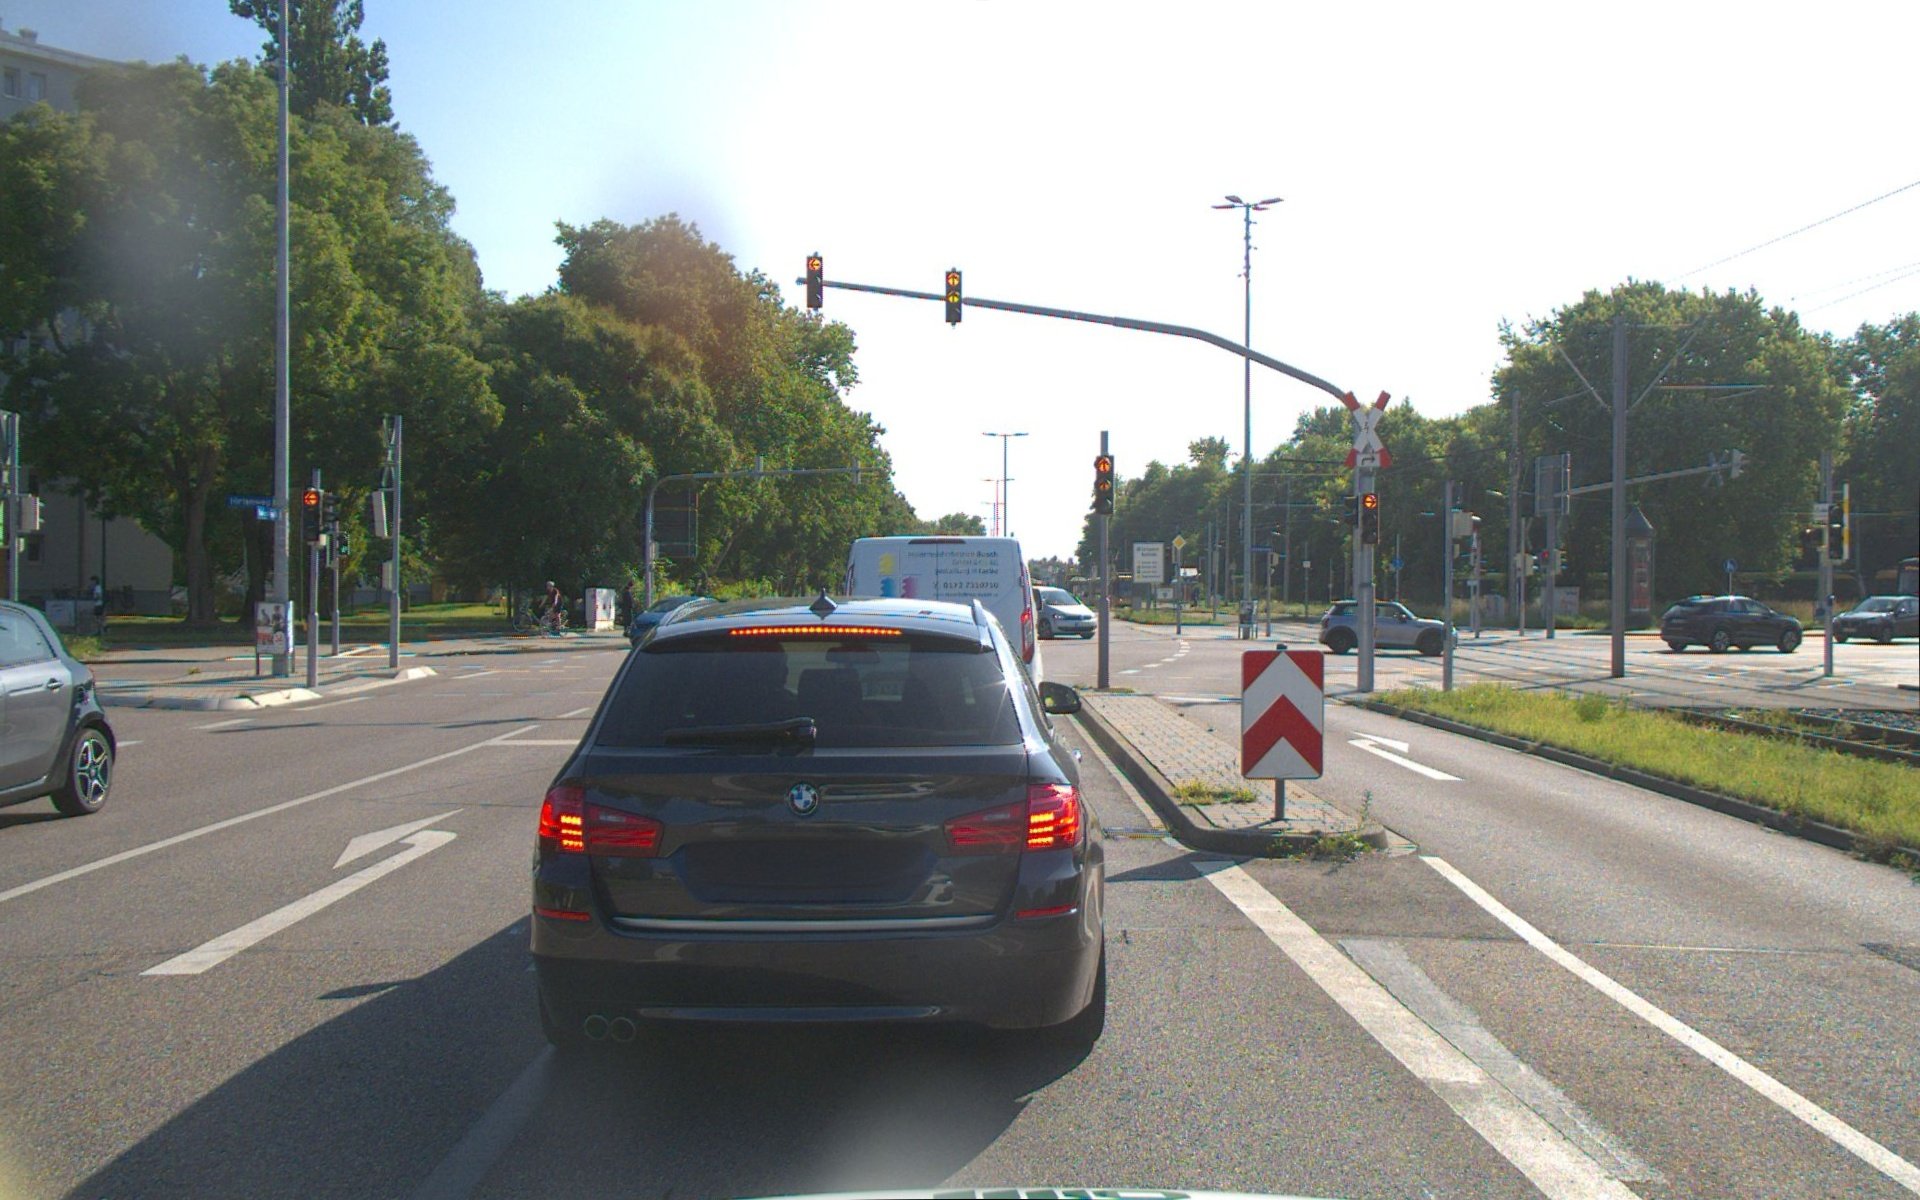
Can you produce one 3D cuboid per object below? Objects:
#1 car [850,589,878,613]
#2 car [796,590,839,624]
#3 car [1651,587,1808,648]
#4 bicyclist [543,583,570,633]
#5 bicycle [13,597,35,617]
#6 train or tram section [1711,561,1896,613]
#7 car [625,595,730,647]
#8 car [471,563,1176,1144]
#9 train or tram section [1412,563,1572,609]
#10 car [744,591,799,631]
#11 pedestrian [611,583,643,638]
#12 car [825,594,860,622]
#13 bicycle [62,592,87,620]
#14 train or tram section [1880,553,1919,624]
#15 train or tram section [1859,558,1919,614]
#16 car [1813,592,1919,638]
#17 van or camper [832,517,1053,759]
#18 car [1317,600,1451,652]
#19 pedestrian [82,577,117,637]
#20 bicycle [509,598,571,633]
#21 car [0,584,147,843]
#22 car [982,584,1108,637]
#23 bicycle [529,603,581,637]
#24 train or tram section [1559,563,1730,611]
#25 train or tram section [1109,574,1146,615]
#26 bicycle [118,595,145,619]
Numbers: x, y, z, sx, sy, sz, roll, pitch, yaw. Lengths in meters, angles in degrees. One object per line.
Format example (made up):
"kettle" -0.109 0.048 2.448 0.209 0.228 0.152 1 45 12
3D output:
"car" -6.371 0.031 109.786 1.753 1.546 3.998 -1 0 -3
"car" -6.954 0.313 81.111 1.709 1.589 4.000 -2 0 0
"car" 23.119 0.527 49.701 4.542 1.752 1.638 1 0 -22
"bicyclist" -12.799 0.256 52.458 0.594 1.587 0.603 0 0 18
"bicycle" -36.609 0.271 64.675 0.578 0.721 2.211 0 1 -35
"train or tram section" 60.914 -0.935 119.878 3.017 3.642 12.087 0 0 -34
"car" -8.213 0.569 48.461 1.741 1.439 4.248 0 0 9
"car" -0.380 0.661 6.416 1.864 1.532 4.064 0 0 -1
"train or tram section" 43.508 -1.115 135.476 12.170 3.642 3.048 0 0 31
"car" -7.576 0.420 66.794 1.667 1.490 4.370 -1 0 0
"pedestrian" -10.913 0.340 54.246 0.798 1.782 0.932 0 0 5
"car" -6.628 0.427 93.911 1.851 1.499 4.098 -1 0 -3
"bicycle" -35.042 0.248 65.427 0.606 1.085 1.892 1 -2 -37
"train or tram section" 53.243 -0.599 87.953 11.721 3.642 3.015 0 0 -37
"train or tram section" 63.733 -0.912 108.478 2.981 3.642 12.231 0 0 0
"car" 32.828 0.514 58.935 4.792 1.590 2.025 0 0 -29
"van or camper" -0.124 0.324 16.922 1.952 2.133 4.599 0 0 1
"car" 11.680 0.701 45.750 3.443 1.408 1.608 0 0 9
"pedestrian" -25.697 0.203 49.398 0.610 1.742 0.705 0 2 11
"bicycle" -13.814 0.493 54.420 1.870 1.138 0.632 0 0 -1
"car" -6.705 0.718 10.226 1.600 1.587 3.675 -2 0 -2
"car" 2.663 0.307 52.396 1.835 1.590 4.151 0 0 -35
"bicycle" -12.814 0.619 52.414 0.606 1.058 2.073 0 0 18
"train or tram section" 53.271 -1.021 128.967 11.984 3.642 3.043 0 0 36
"train or tram section" 15.638 -0.458 155.224 2.738 3.681 12.960 1 0 3
"bicycle" -33.479 0.273 66.793 0.663 0.936 2.377 0 0 -35
